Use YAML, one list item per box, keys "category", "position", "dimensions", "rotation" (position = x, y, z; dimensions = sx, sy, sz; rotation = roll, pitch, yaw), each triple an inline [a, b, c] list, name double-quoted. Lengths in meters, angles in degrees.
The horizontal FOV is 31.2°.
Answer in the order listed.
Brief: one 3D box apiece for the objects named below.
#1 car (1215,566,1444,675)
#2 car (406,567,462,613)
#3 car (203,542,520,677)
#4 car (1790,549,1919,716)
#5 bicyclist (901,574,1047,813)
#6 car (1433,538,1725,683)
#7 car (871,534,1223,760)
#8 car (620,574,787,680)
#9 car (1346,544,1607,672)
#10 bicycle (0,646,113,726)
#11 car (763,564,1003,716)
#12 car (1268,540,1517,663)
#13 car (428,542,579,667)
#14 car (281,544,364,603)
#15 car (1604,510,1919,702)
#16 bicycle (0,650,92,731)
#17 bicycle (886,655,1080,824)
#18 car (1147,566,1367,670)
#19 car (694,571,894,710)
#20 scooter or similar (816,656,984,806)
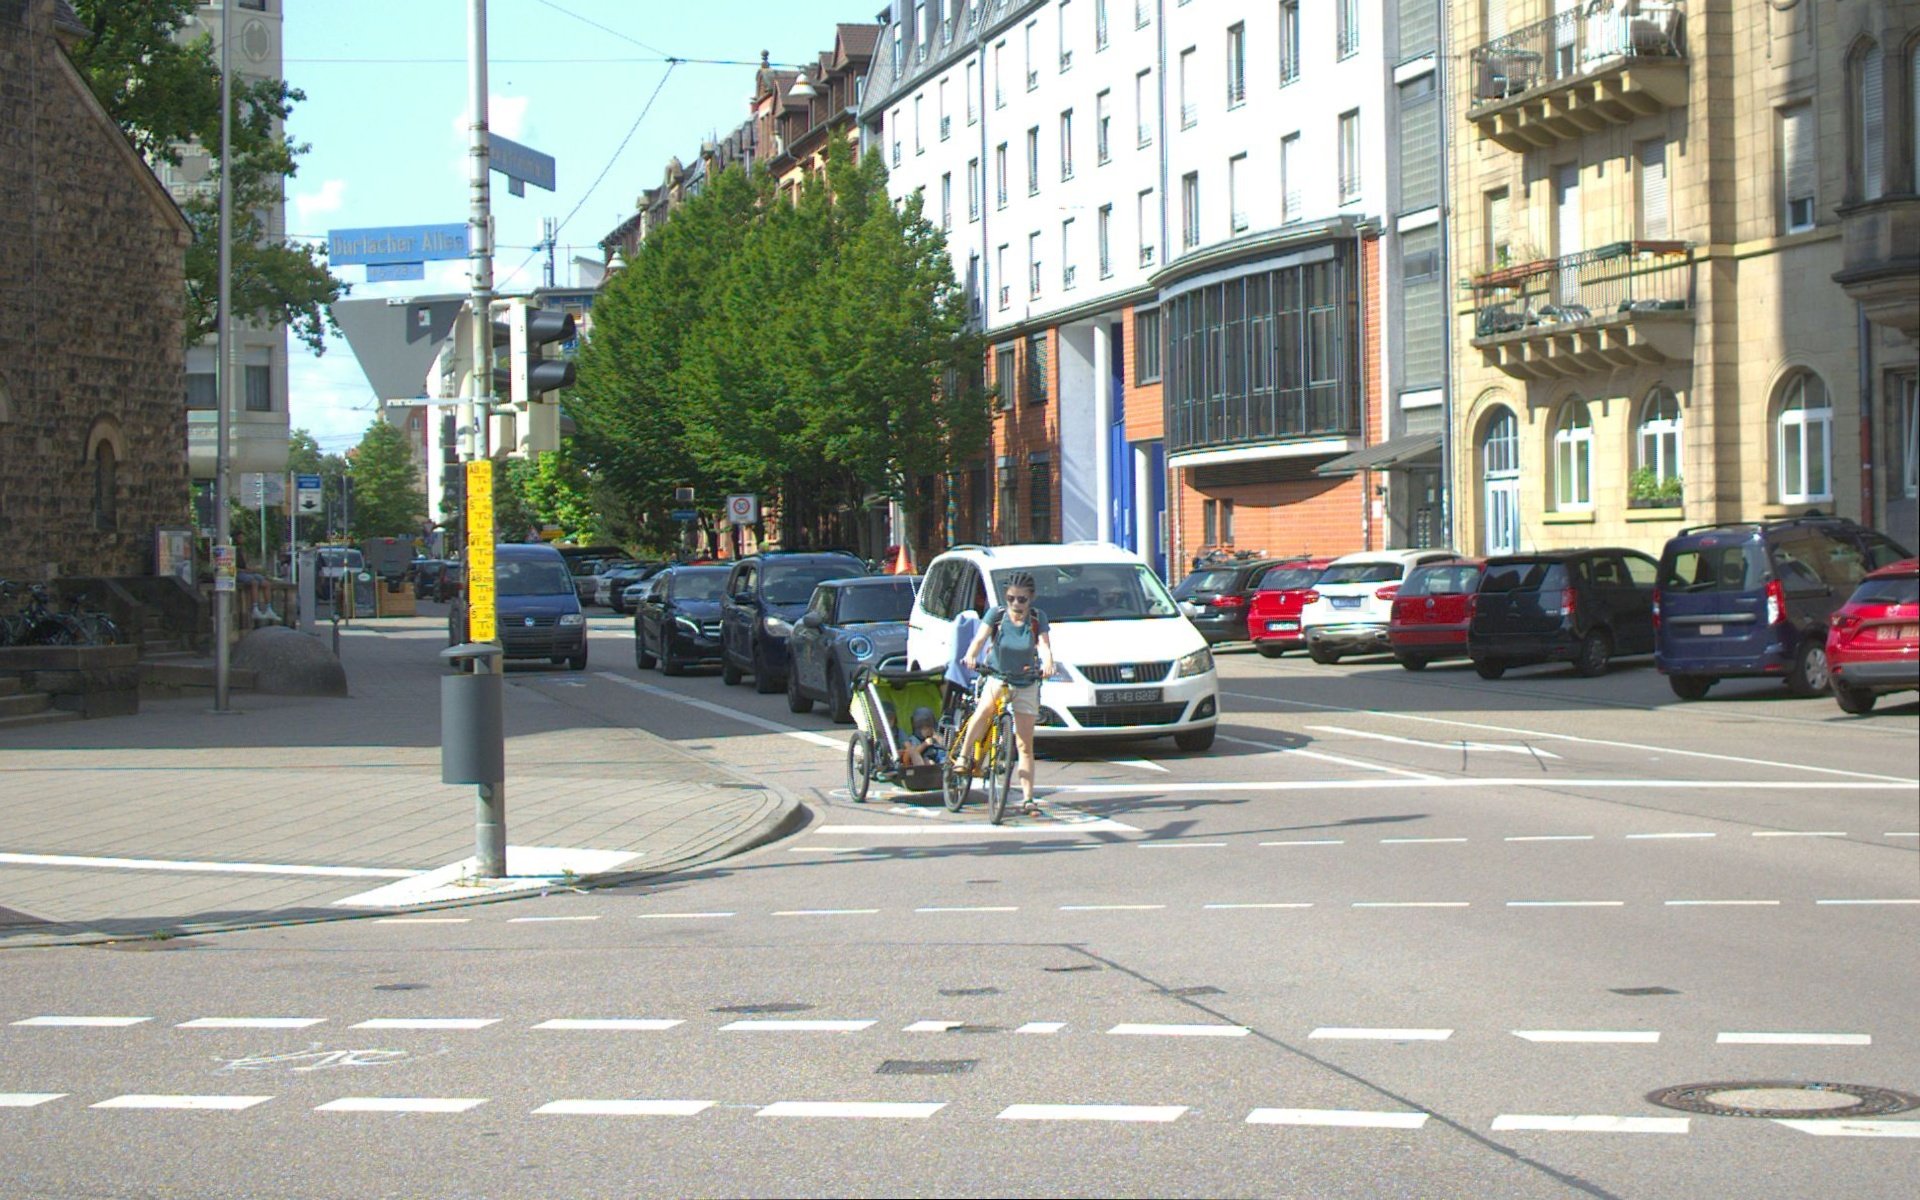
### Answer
- category: "car"
  position: [5.548, 0.300, 51.328]
  dimensions: [1.604, 1.392, 3.565]
  rotation: [-2, 2, 41]
- category: "car"
  position: [-21.457, -0.436, 140.175]
  dimensions: [1.993, 1.809, 4.001]
  rotation: [-1, 1, -13]
- category: "car"
  position: [-7.709, 0.110, 44.121]
  dimensions: [3.969, 1.646, 2.027]
  rotation: [0, 1, 44]
- category: "car"
  position: [9.802, 0.244, 33.538]
  dimensions: [1.914, 1.439, 3.992]
  rotation: [-2, 2, 36]
- category: "bicyclist"
  position: [0.086, 0.596, 22.555]
  dimensions: [0.650, 1.498, 0.922]
  rotation: [-3, 1, -17]
- category: "car"
  position: [7.708, 0.110, 42.573]
  dimensions: [1.709, 1.540, 3.991]
  rotation: [-2, 2, 41]
- category: "car"
  position: [0.633, 0.338, 29.193]
  dimensions: [1.808, 1.734, 4.665]
  rotation: [-1, 1, -14]
- category: "car"
  position: [-3.620, 0.341, 47.989]
  dimensions: [1.697, 1.386, 3.863]
  rotation: [-1, 1, -14]
- category: "car"
  position: [6.872, 0.090, 45.529]
  dimensions: [1.604, 1.451, 3.767]
  rotation: [-2, 2, 41]
- category: "bicycle"
  position: [-8.723, 0.812, 32.500]
  dimensions: [1.363, 0.738, 0.339]
  rotation: [0, 1, 11]
- category: "car"
  position: [-0.842, 0.363, 35.166]
  dimensions: [1.669, 1.445, 3.737]
  rotation: [-1, 1, -14]
- category: "car"
  position: [6.107, 0.009, 48.309]
  dimensions: [1.604, 1.495, 3.767]
  rotation: [-2, 2, 41]
- category: "car"
  position: [-6.733, 0.029, 50.422]
  dimensions: [1.809, 1.659, 4.074]
  rotation: [-2, 2, -13]
- category: "car"
  position: [-14.789, -0.630, 79.917]
  dimensions: [1.638, 1.321, 3.744]
  rotation: [-1, 1, -7]
- category: "car"
  position: [8.942, 0.036, 36.960]
  dimensions: [3.990, 1.818, 1.915]
  rotation: [-4, 2, -43]
- category: "bicycle"
  position: [-8.809, 0.841, 32.072]
  dimensions: [1.363, 0.738, 0.339]
  rotation: [0, 1, 11]
- category: "bicycle"
  position: [0.124, 0.886, 22.494]
  dimensions: [0.650, 0.986, 2.135]
  rotation: [-1, 1, -17]
- category: "car"
  position: [4.681, 0.270, 53.831]
  dimensions: [1.604, 1.392, 3.565]
  rotation: [-2, 2, 41]
- category: "car"
  position: [-2.092, 0.458, 42.247]
  dimensions: [1.697, 1.591, 4.073]
  rotation: [-1, 1, -14]
- category: "scooter or similar"
  position: [-0.431, 0.903, 24.089]
  dimensions: [0.887, 0.973, 1.131]
  rotation: [-1, 1, -17]
